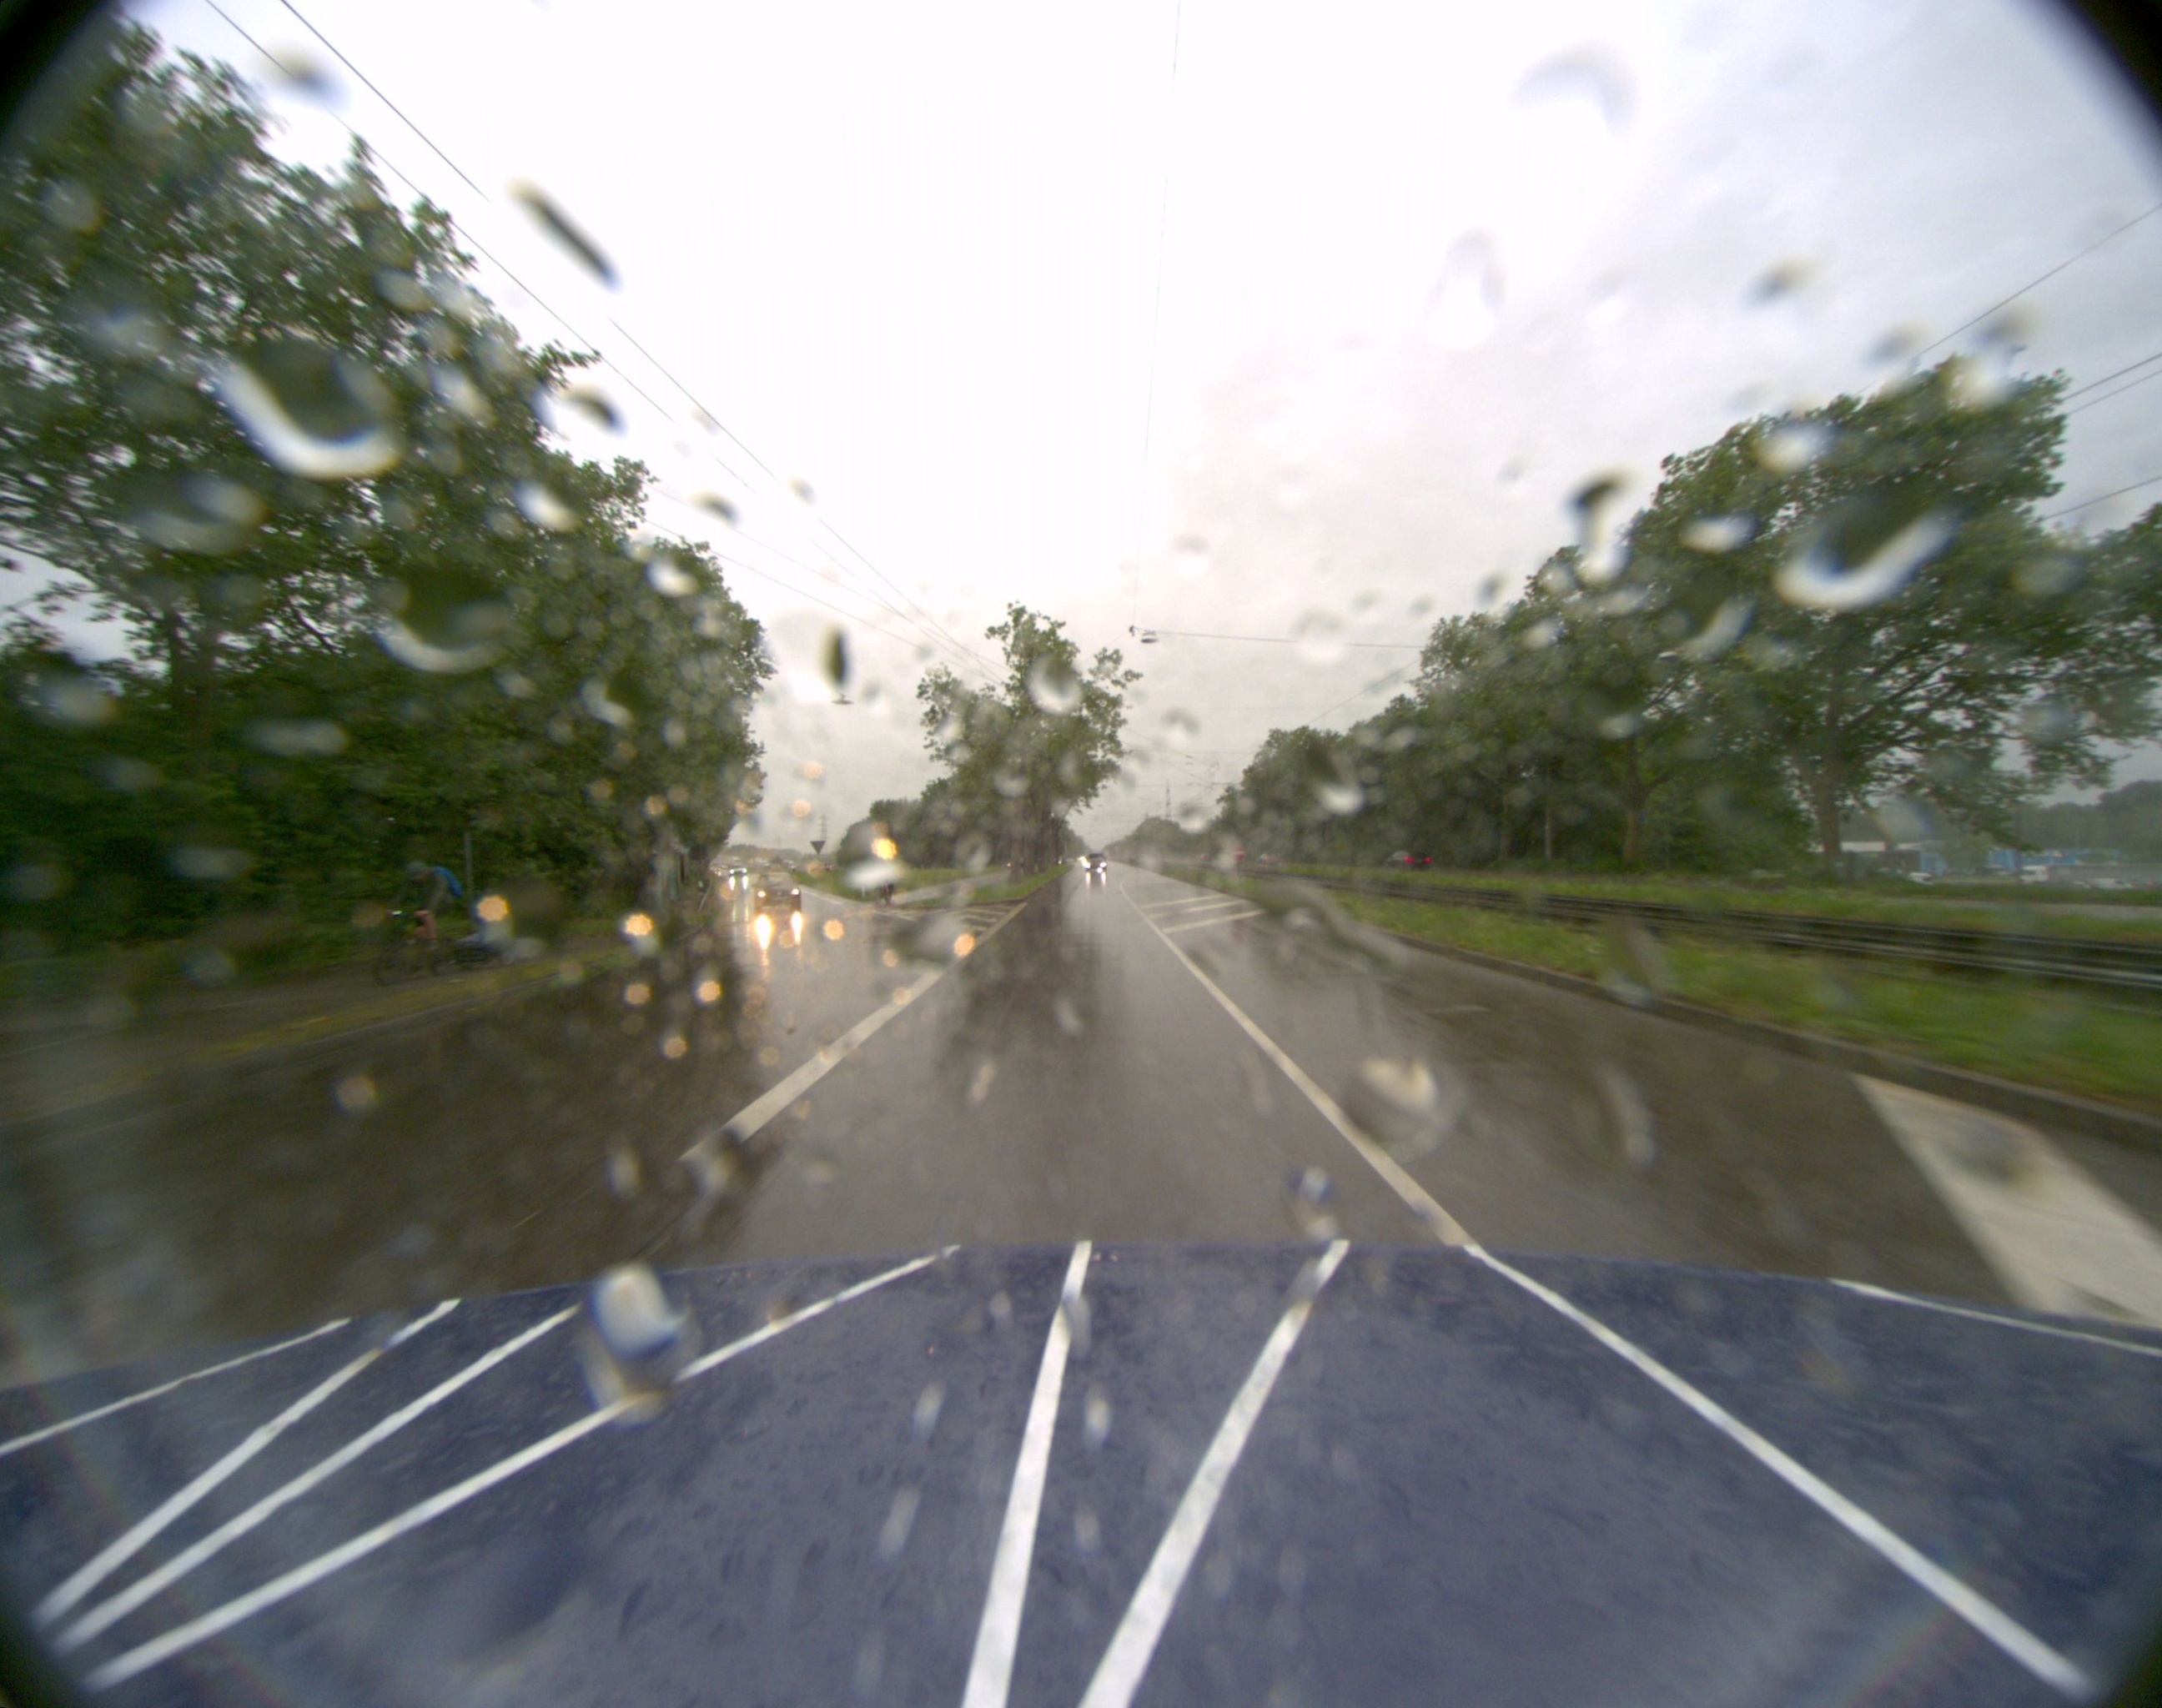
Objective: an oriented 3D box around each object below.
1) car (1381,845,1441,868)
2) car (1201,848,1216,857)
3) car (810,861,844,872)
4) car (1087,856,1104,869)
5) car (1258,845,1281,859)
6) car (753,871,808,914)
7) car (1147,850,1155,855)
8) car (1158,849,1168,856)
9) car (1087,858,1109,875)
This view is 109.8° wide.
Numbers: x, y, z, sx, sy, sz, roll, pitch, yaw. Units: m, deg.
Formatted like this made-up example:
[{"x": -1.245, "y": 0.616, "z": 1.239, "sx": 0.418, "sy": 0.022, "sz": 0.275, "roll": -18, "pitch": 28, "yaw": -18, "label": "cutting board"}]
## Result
[{"x": 23.378, "y": 0.151, "z": 54.039, "sx": 2.218, "sy": 1.519, "sz": 4.277, "roll": -1, "pitch": 0, "yaw": -2, "label": "car"}, {"x": 20.493, "y": -0.276, "z": 122.242, "sx": 1.686, "sy": 1.398, "sz": 3.938, "roll": -1, "pitch": 1, "yaw": -1, "label": "car"}, {"x": -33.604, "y": 1.607, "z": 100.456, "sx": 3.992, "sy": 1.412, "sz": 1.754, "roll": 0, "pitch": 1, "yaw": 16, "label": "car"}, {"x": 1.680, "y": 1.006, "z": 90.355, "sx": 1.971, "sy": 1.412, "sz": 3.999, "roll": 0, "pitch": 1, "yaw": 0, "label": "car"}, {"x": 22.543, "y": -0.243, "z": 90.952, "sx": 1.655, "sy": 1.559, "sz": 4.046, "roll": -2, "pitch": 1, "yaw": -1, "label": "car"}, {"x": -12.894, "y": 1.586, "z": 32.460, "sx": 1.871, "sy": 1.528, "sz": 4.507, "roll": -2, "pitch": 1, "yaw": -25, "label": "car"}, {"x": 19.204, "y": -0.422, "z": 207.765, "sx": 1.776, "sy": 1.323, "sz": 4.379, "roll": -1, "pitch": 0, "yaw": -1, "label": "car"}, {"x": 19.000, "y": -0.351, "z": 176.375, "sx": 1.695, "sy": 1.514, "sz": 4.955, "roll": -1, "pitch": 0, "yaw": -1, "label": "car"}, {"x": 1.500, "y": 1.109, "z": 68.104, "sx": 1.971, "sy": 1.412, "sz": 3.999, "roll": 0, "pitch": 1, "yaw": 0, "label": "car"}]
